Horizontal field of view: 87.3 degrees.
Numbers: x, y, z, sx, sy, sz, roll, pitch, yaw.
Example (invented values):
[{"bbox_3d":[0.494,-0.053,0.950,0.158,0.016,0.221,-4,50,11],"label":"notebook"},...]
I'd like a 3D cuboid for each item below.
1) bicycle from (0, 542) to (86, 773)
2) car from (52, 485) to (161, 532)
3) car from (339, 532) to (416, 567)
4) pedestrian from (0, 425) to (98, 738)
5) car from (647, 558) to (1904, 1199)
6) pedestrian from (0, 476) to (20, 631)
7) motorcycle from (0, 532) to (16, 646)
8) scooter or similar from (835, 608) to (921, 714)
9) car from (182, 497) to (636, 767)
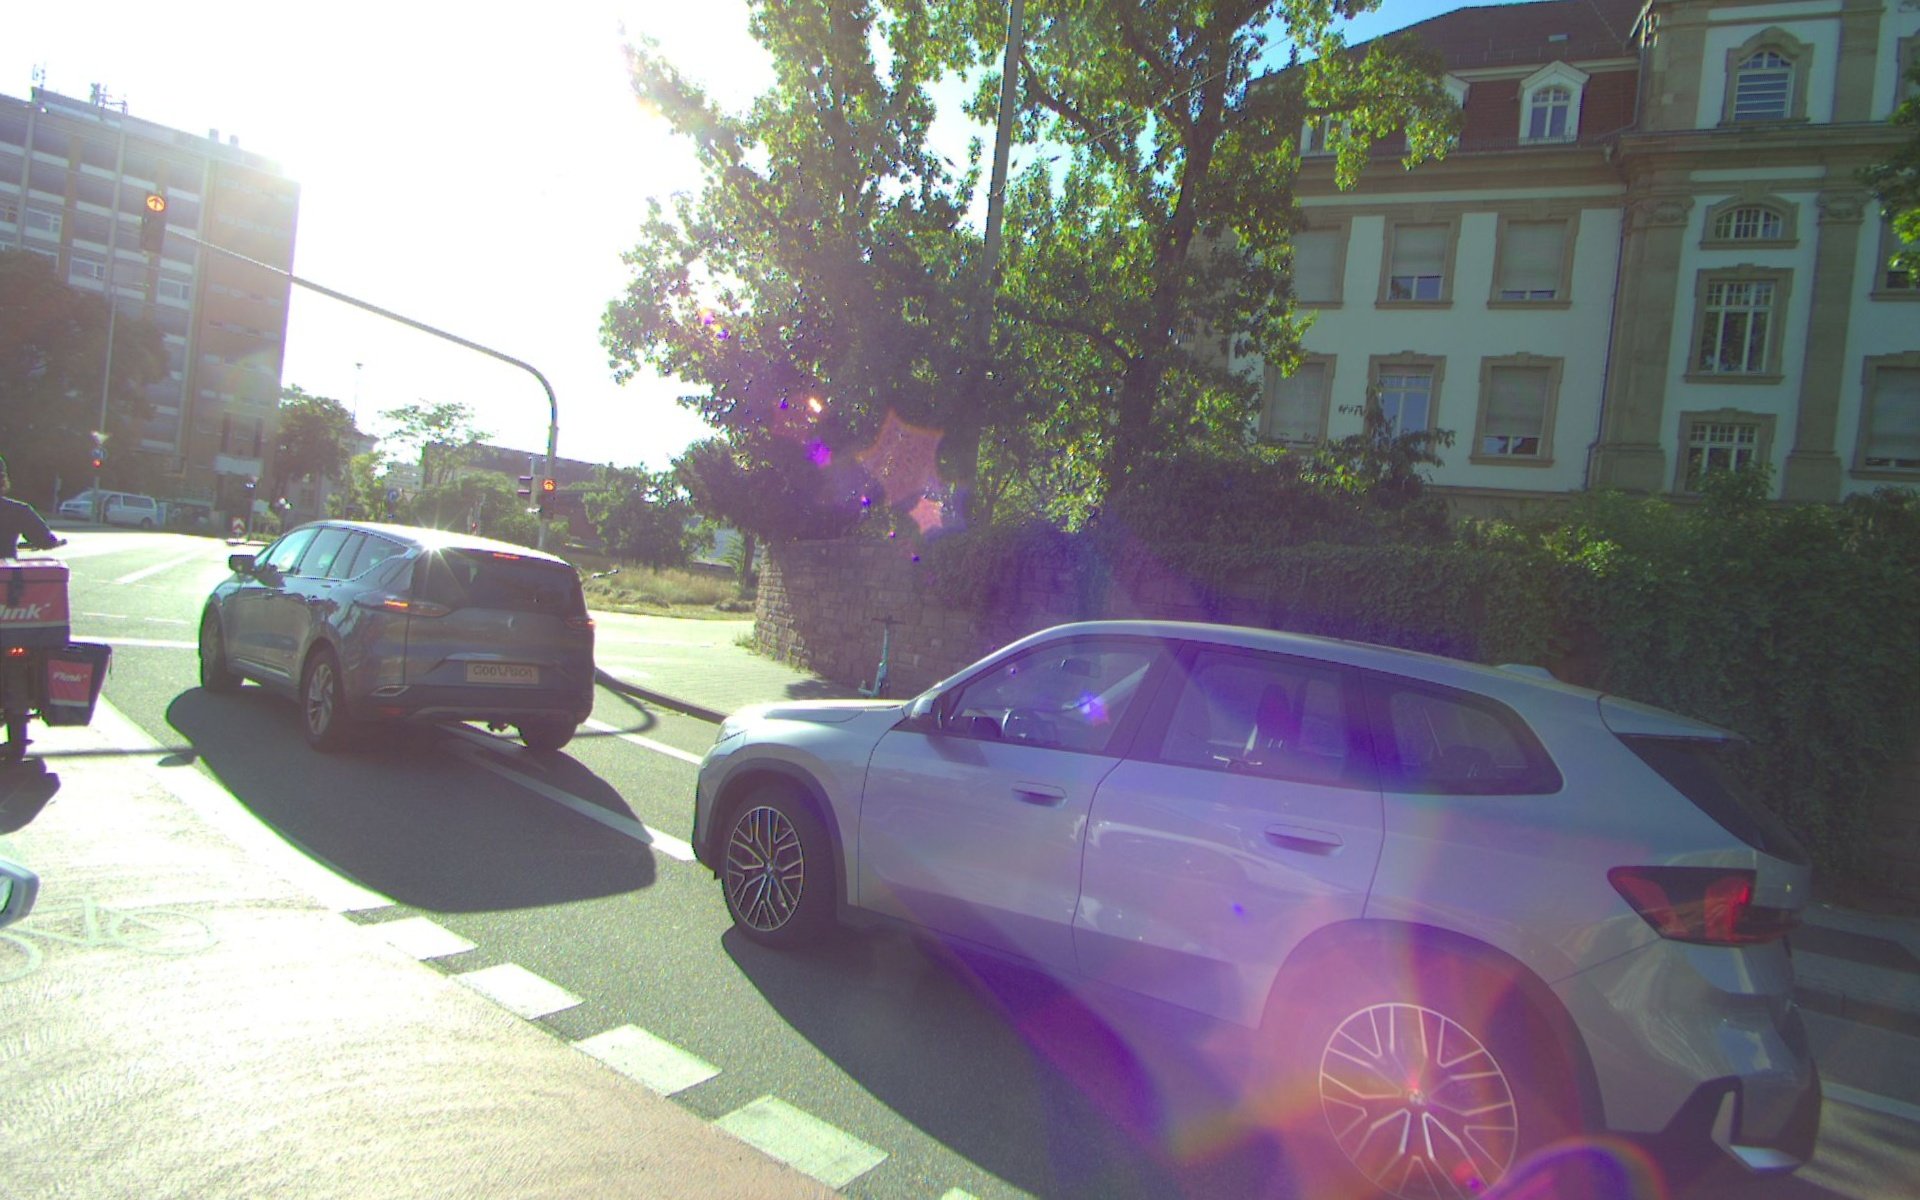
[{"bbox_3d":[-5.989,0.257,6.176,2.340,1.185,0.553,6,-2,42],"label":"bicycle"},{"bbox_3d":[-47.926,-5.091,56.634,1.879,1.969,4.706,6,0,2],"label":"car"},{"bbox_3d":[-43.487,-3.774,75.183,4.647,1.969,1.903,7,0,-25],"label":"car"},{"bbox_3d":[-6.215,-0.145,6.391,0.943,1.890,0.806,6,-1,40],"label":"pedestrian"},{"bbox_3d":[0.827,0.883,4.241,4.263,1.612,1.788,6,-2,37],"label":"car"},{"bbox_3d":[-8.710,-0.300,8.746,0.585,1.617,1.013,8,-1,-41],"label":"pedestrian"},{"bbox_3d":[-8.934,-0.081,8.920,0.611,1.110,2.334,8,-2,-41],"label":"motorcycle"},{"bbox_3d":[-1.154,0.820,13.880,0.569,1.285,1.414,6,0,-27],"label":"scooter or similar"},{"bbox_3d":[-4.836,0.164,8.553,4.307,1.709,1.830,6,-2,40],"label":"car"}]
